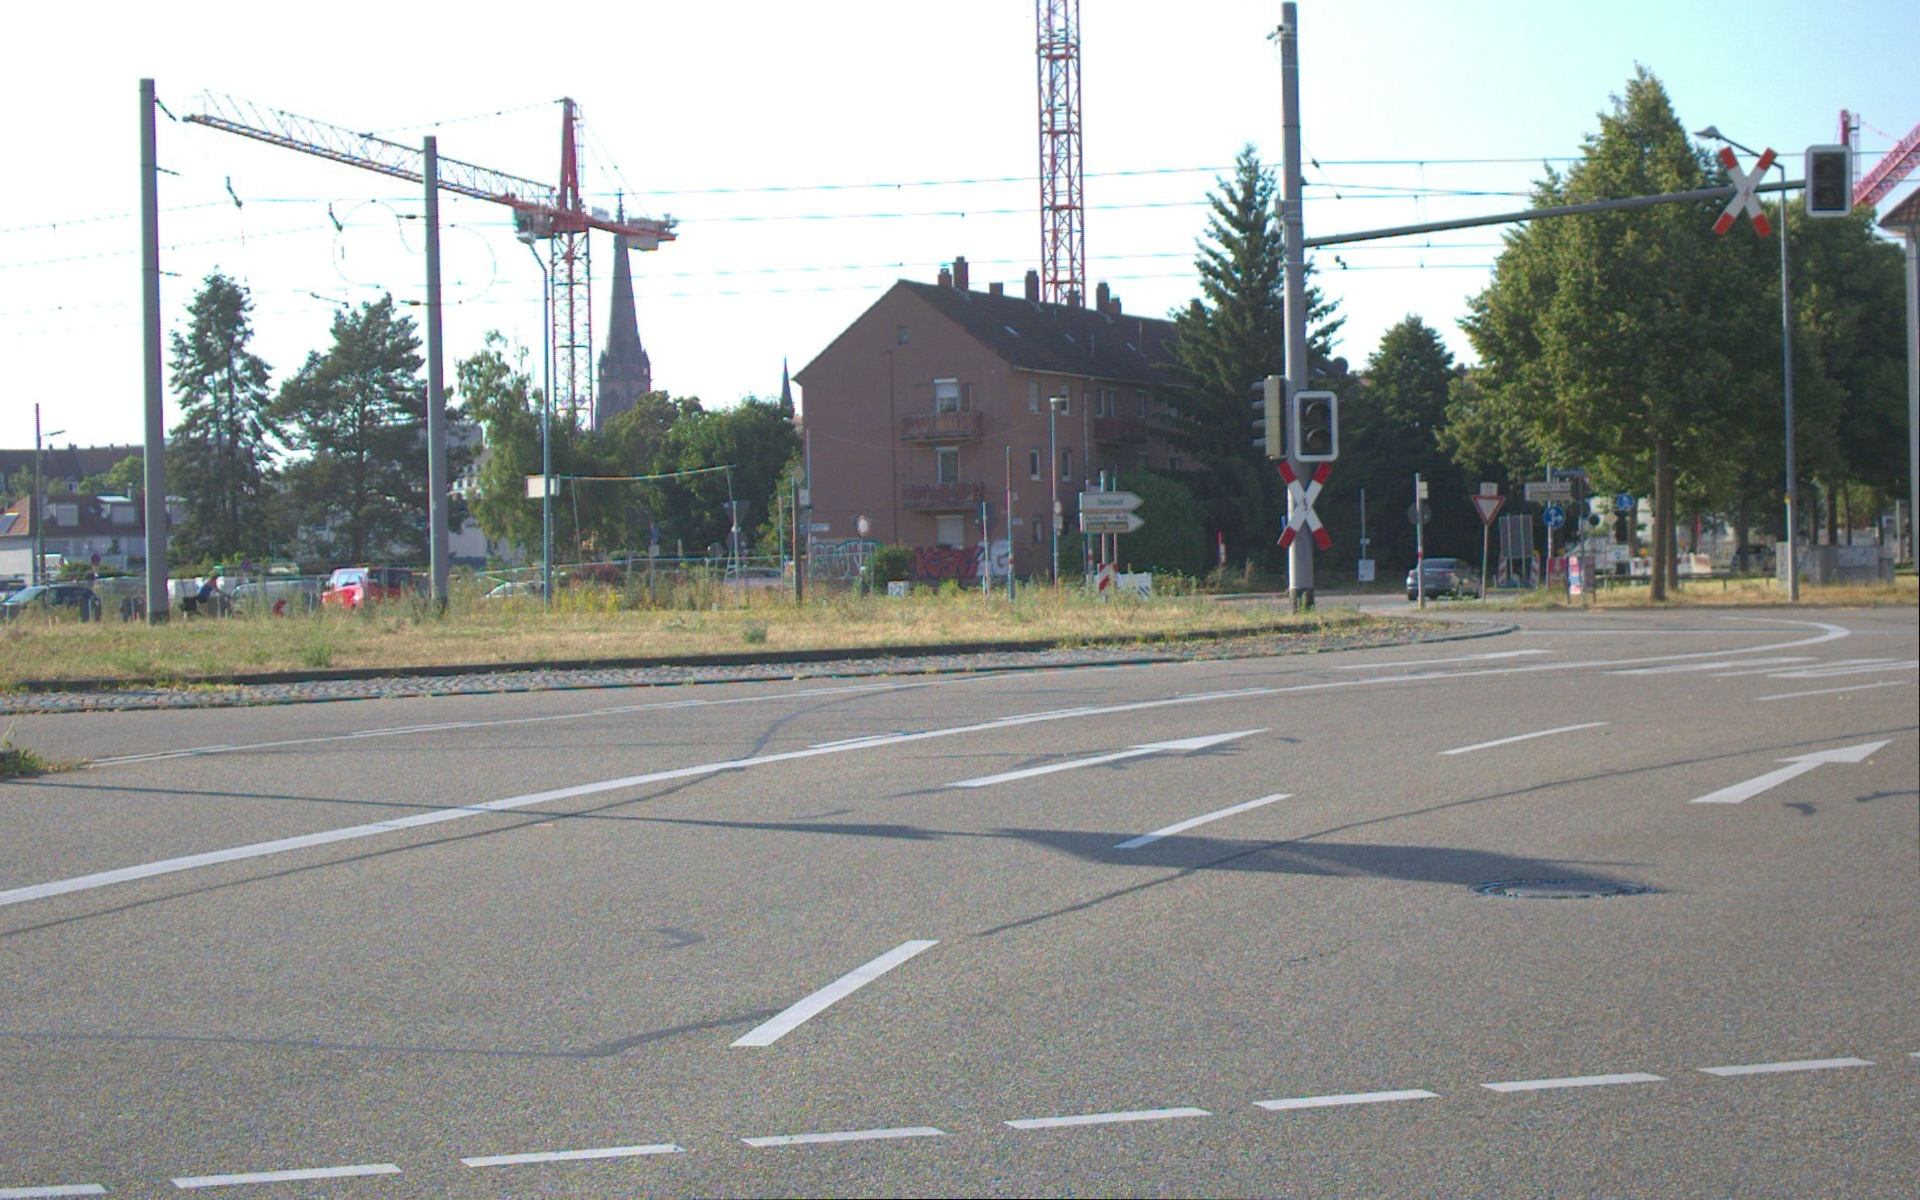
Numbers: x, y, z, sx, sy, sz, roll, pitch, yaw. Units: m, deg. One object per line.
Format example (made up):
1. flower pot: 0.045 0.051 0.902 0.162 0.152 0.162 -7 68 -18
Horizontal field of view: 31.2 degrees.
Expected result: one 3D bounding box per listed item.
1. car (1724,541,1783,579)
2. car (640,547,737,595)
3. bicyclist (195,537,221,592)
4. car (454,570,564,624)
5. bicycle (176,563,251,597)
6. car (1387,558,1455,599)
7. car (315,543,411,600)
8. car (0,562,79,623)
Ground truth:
1. car: 38.031 -1.918 164.654 1.996 1.774 3.995 1 1 24
2. car: -11.789 -1.245 149.231 3.812 2.007 1.670 -1 0 19
3. bicyclist: -20.910 -0.987 95.646 0.622 1.506 0.419 -1 1 -5
4. car: -17.383 -0.110 132.536 3.812 2.007 1.670 -1 0 19
5. bicycle: -20.774 -0.557 95.667 1.987 0.915 0.430 -1 1 -6
6. car: 15.571 -0.723 116.139 1.457 1.295 3.545 -1 1 21
7. car: -20.168 -0.976 116.031 1.919 1.847 4.000 -2 1 -29
8. car: -29.394 -0.212 105.772 3.987 1.809 2.000 -2 1 -32
